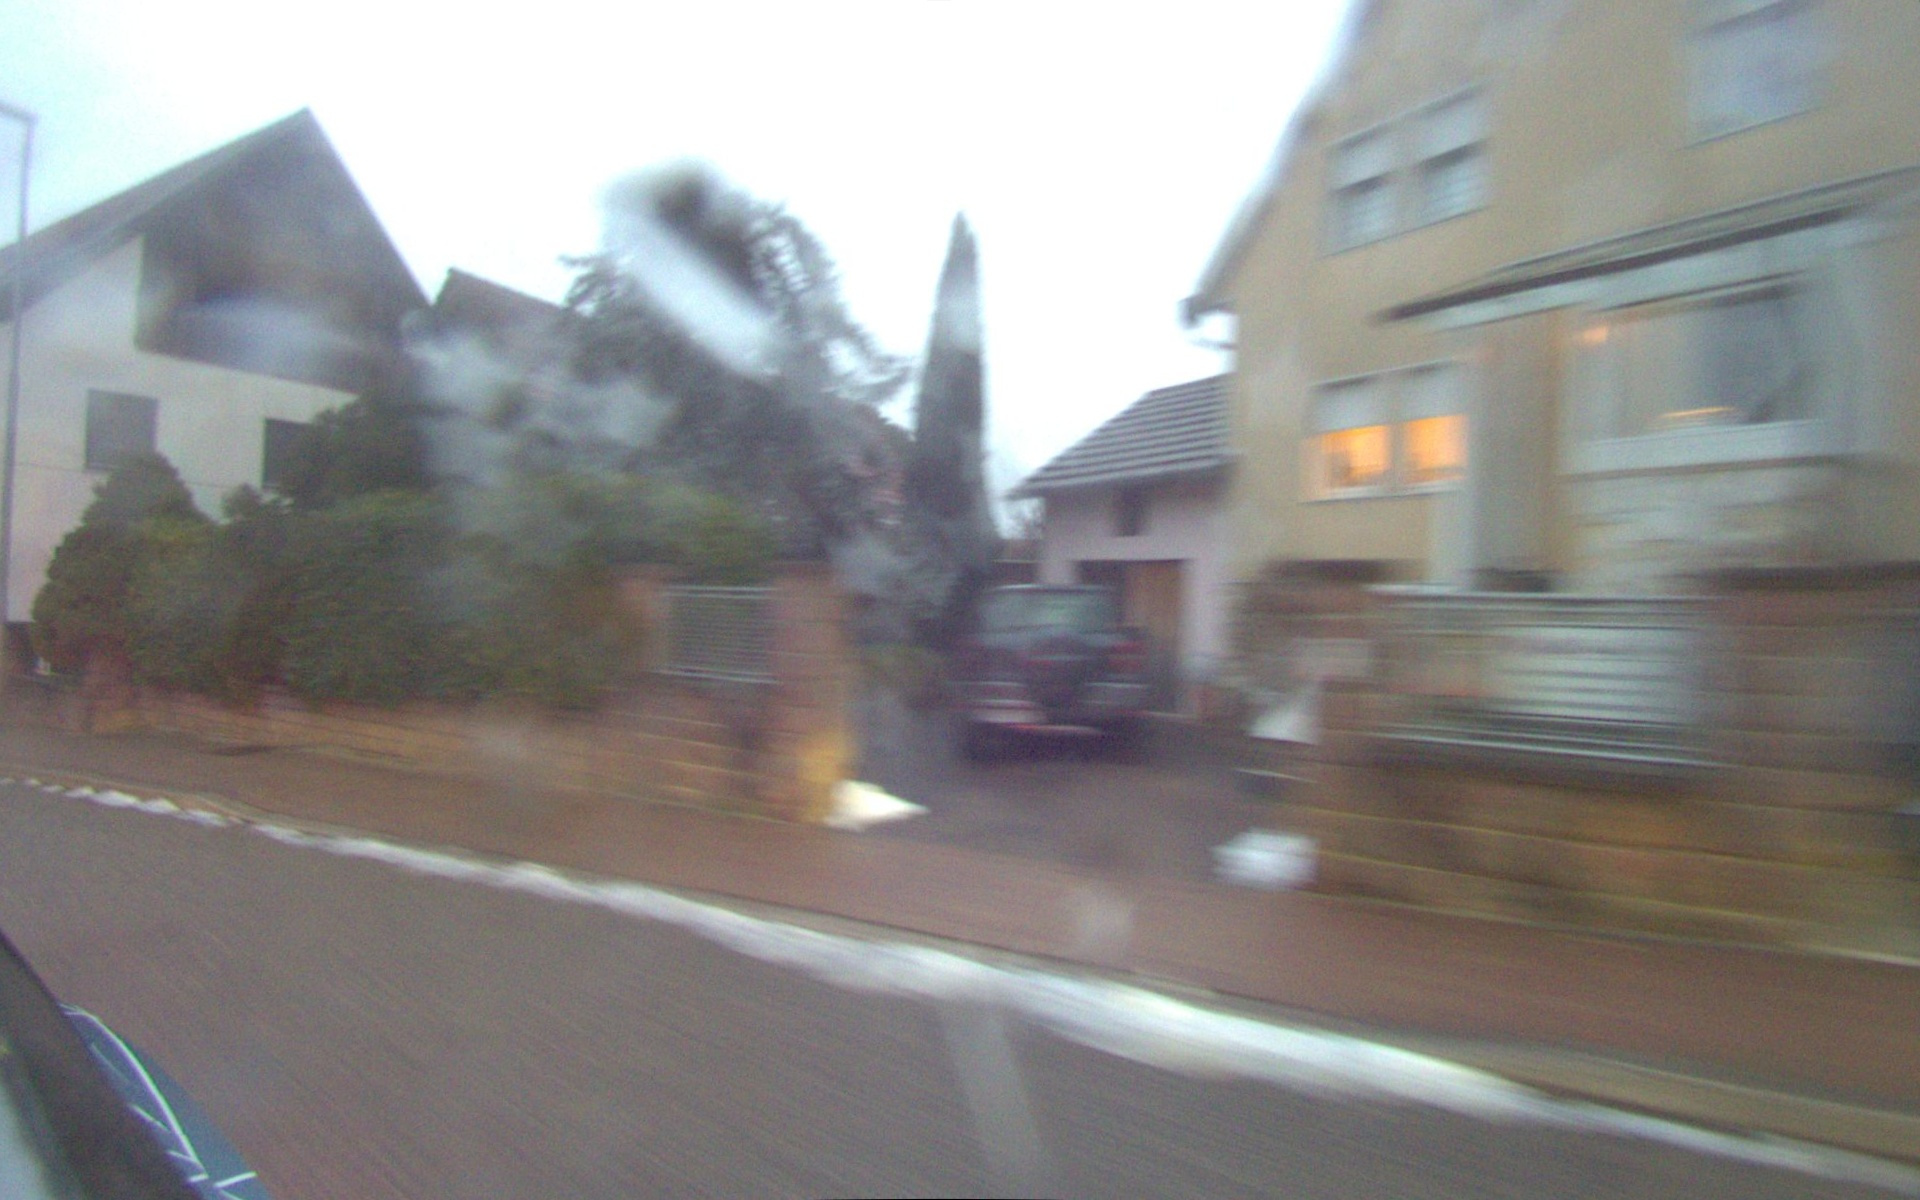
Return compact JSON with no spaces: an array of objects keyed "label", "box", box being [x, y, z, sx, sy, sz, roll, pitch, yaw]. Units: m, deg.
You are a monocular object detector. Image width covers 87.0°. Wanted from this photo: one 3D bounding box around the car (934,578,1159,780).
[{"label":"car","box":[1.009,0.652,10.301,1.890,1.667,3.624,0,0,10]}]
